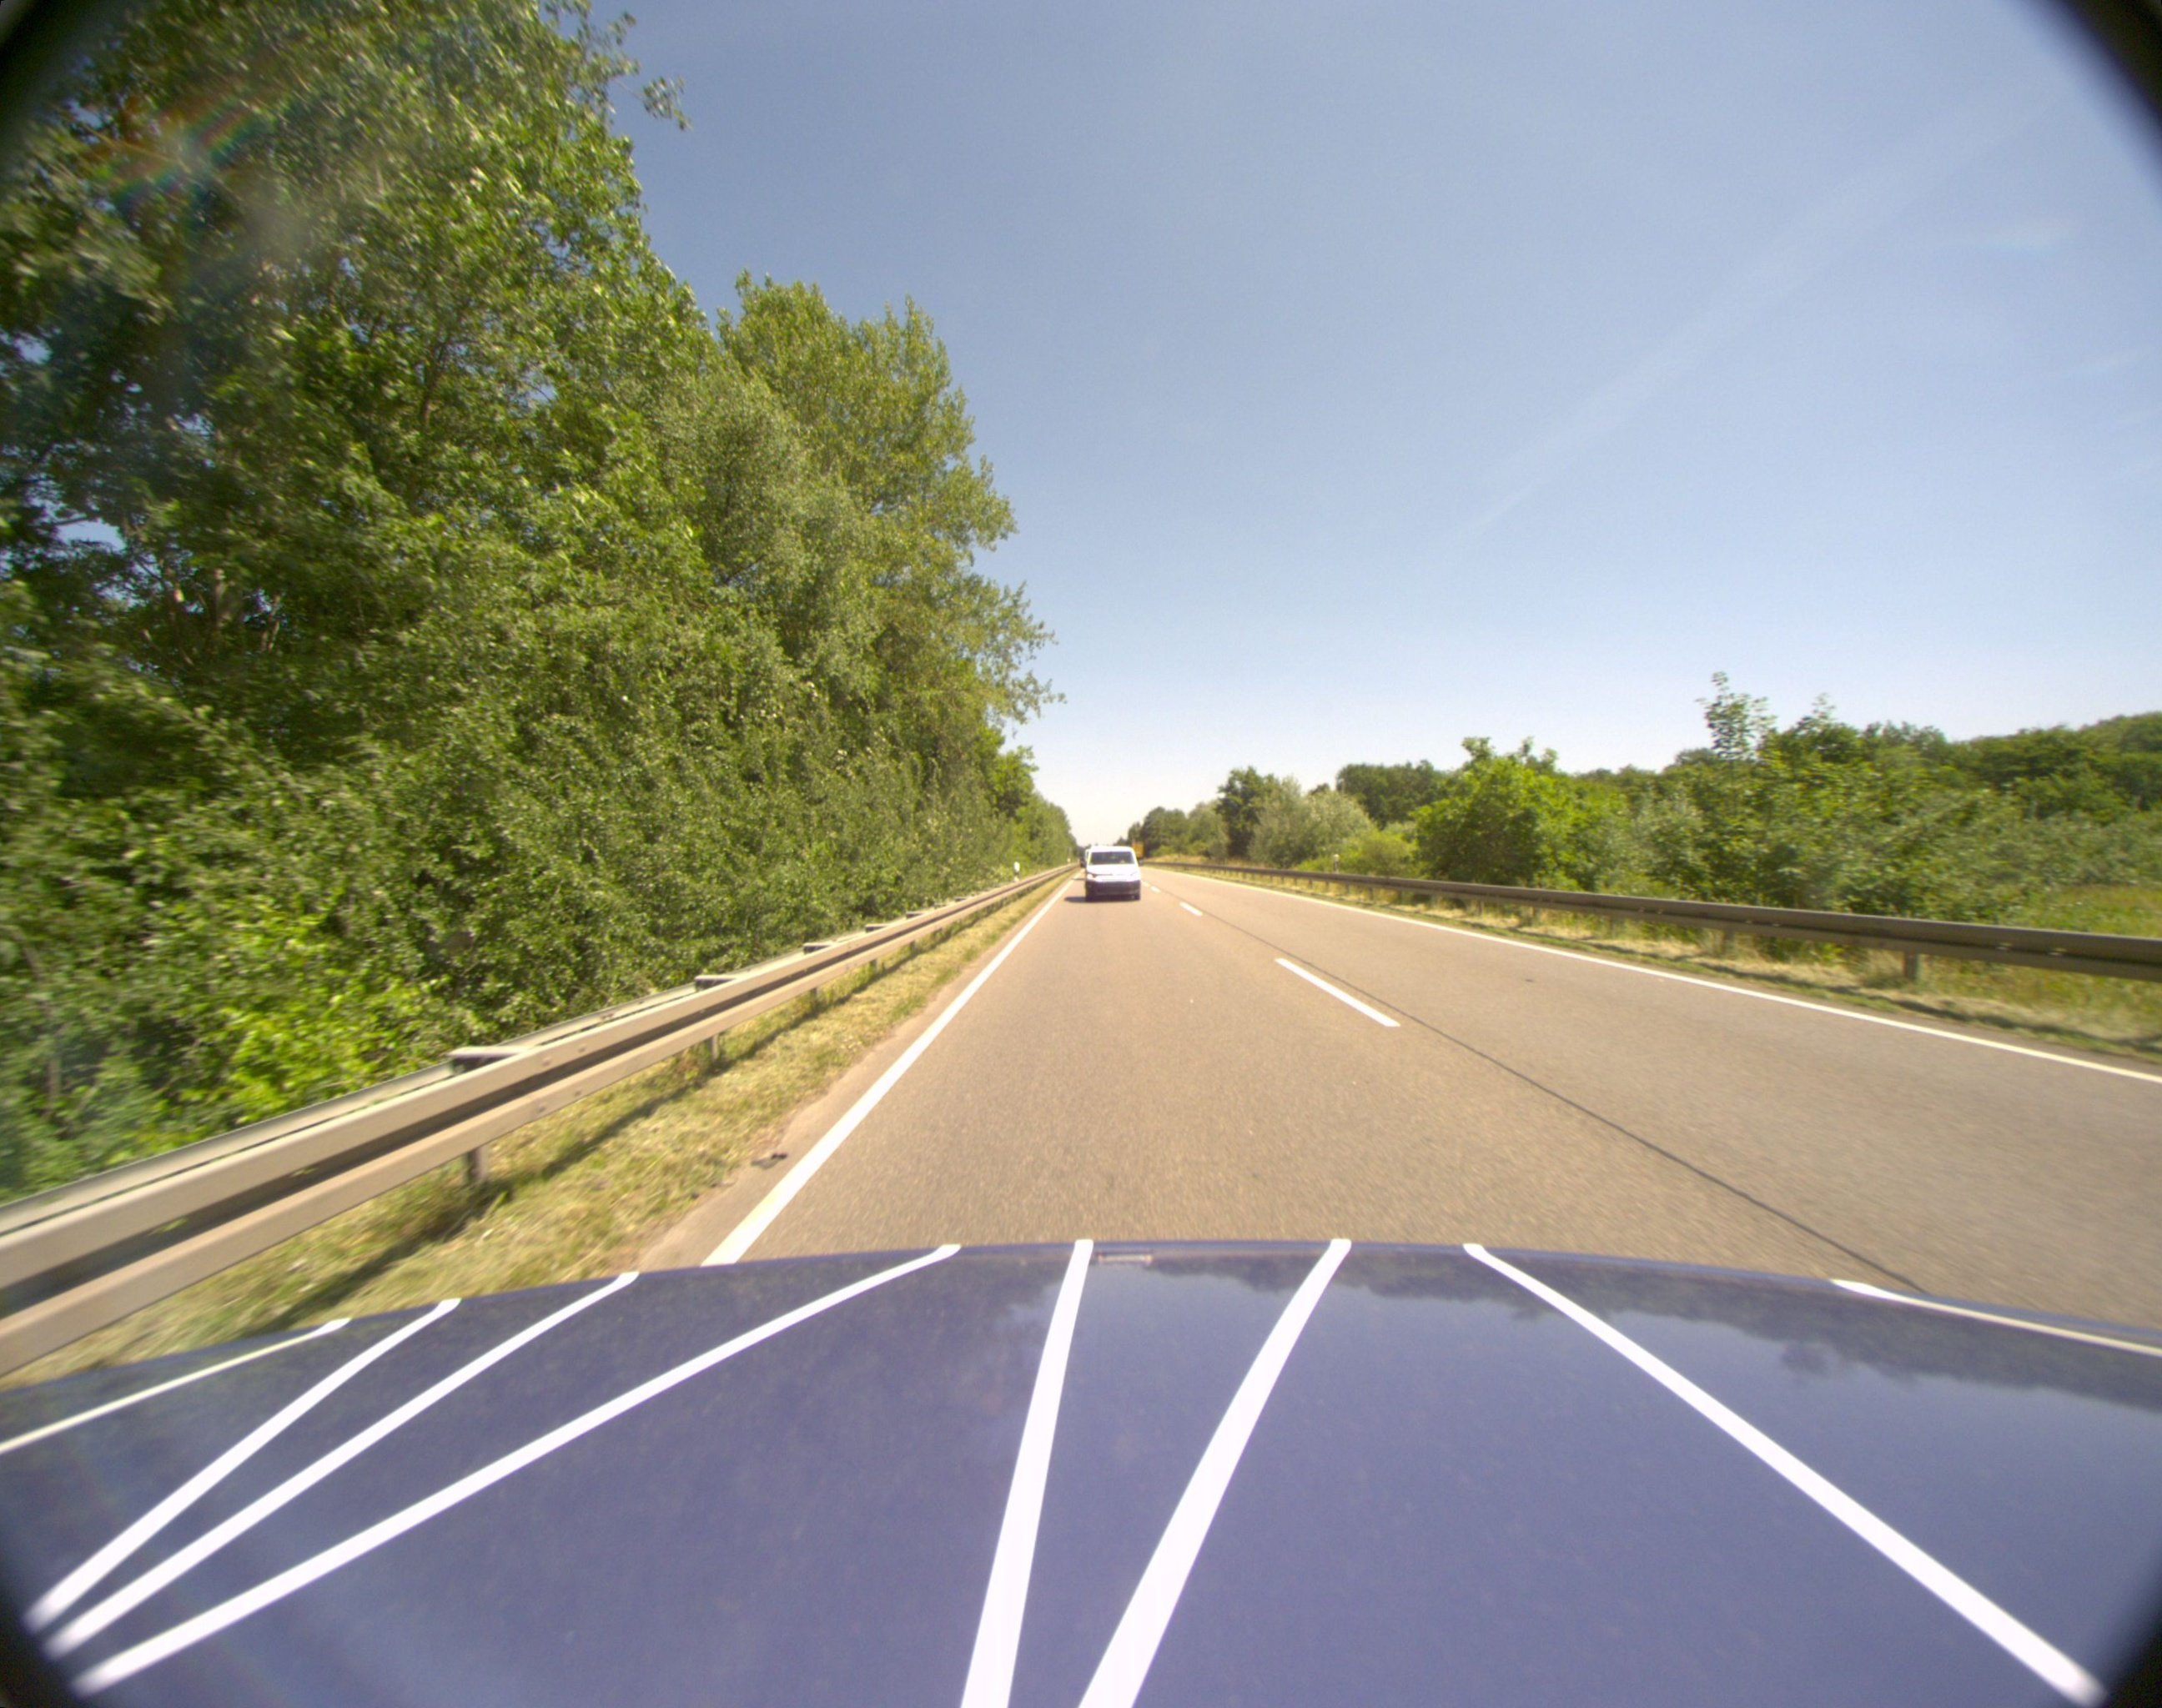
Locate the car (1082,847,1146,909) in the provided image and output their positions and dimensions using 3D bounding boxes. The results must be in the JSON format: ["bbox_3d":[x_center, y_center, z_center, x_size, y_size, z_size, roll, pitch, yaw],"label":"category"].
[{"bbox_3d":[1.012,0.689,24.247,1.782,1.743,4.512,-2,0,2],"label":"car"}]

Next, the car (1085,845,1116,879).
[{"bbox_3d":[1.211,0.492,47.445,1.782,1.960,4.106,-2,0,2],"label":"car"}]

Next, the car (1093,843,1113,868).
[{"bbox_3d":[2.046,0.136,71.293,1.782,2.287,4.106,-2,0,2],"label":"car"}]
